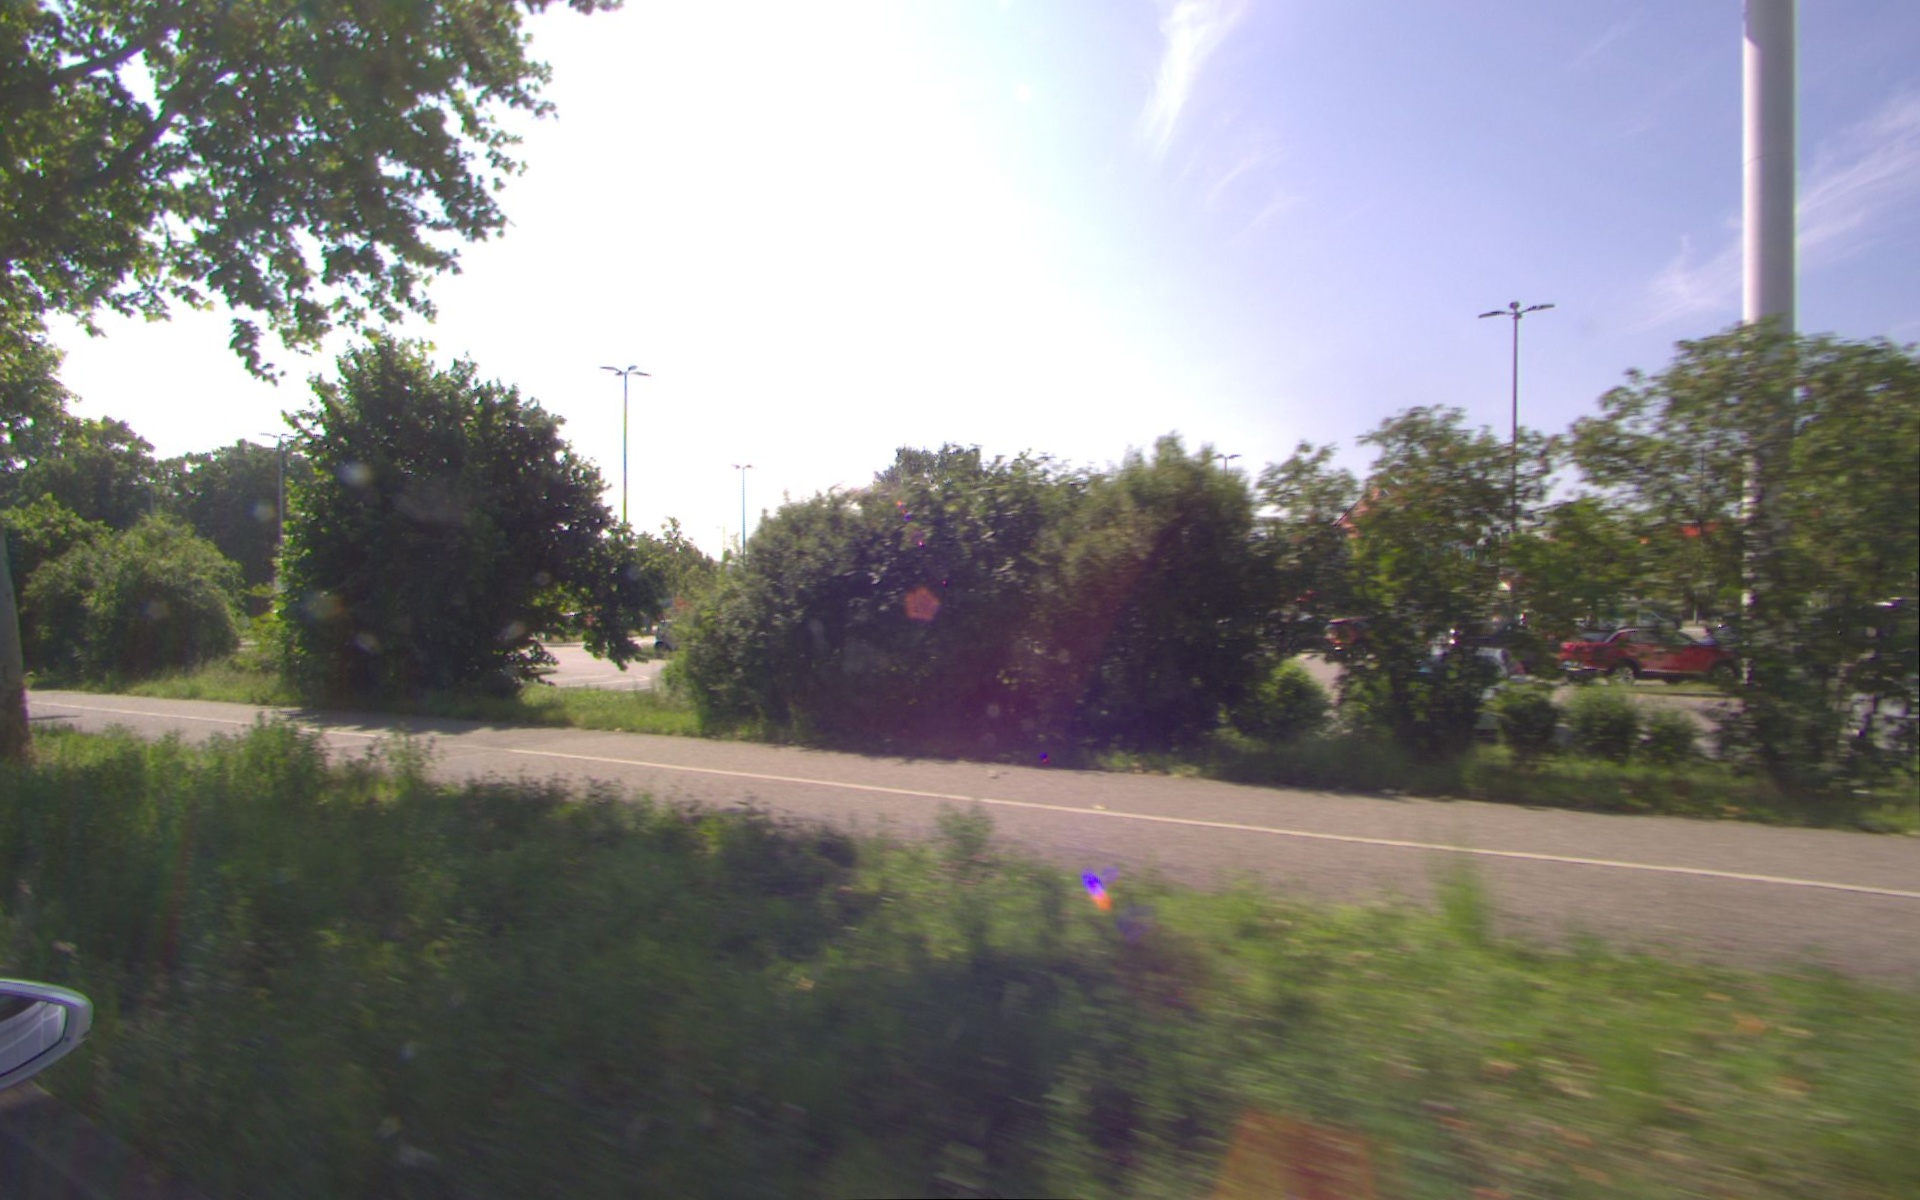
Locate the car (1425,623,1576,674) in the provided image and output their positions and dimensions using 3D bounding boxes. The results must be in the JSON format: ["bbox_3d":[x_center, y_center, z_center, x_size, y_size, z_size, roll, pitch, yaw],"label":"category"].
[{"bbox_3d":[16.619,1.478,30.883,3.716,1.505,1.781,0,-1,-6],"label":"car"}]

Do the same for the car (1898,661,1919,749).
[{"bbox_3d":[13.677,1.461,13.094,1.177,1.240,3.956,-1,-3,30],"label":"car"}]

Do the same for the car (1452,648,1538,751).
[{"bbox_3d":[9.273,1.634,17.286,1.177,1.475,3.148,-1,0,30],"label":"car"}]

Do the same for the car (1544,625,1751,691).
[{"bbox_3d":[17.345,1.423,25.396,3.922,1.527,2.000,-1,-1,-3],"label":"car"}]

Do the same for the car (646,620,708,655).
[{"bbox_3d":[-12.490,1.673,44.278,2.574,1.511,0.943,0,-2,-10],"label":"car"}]
